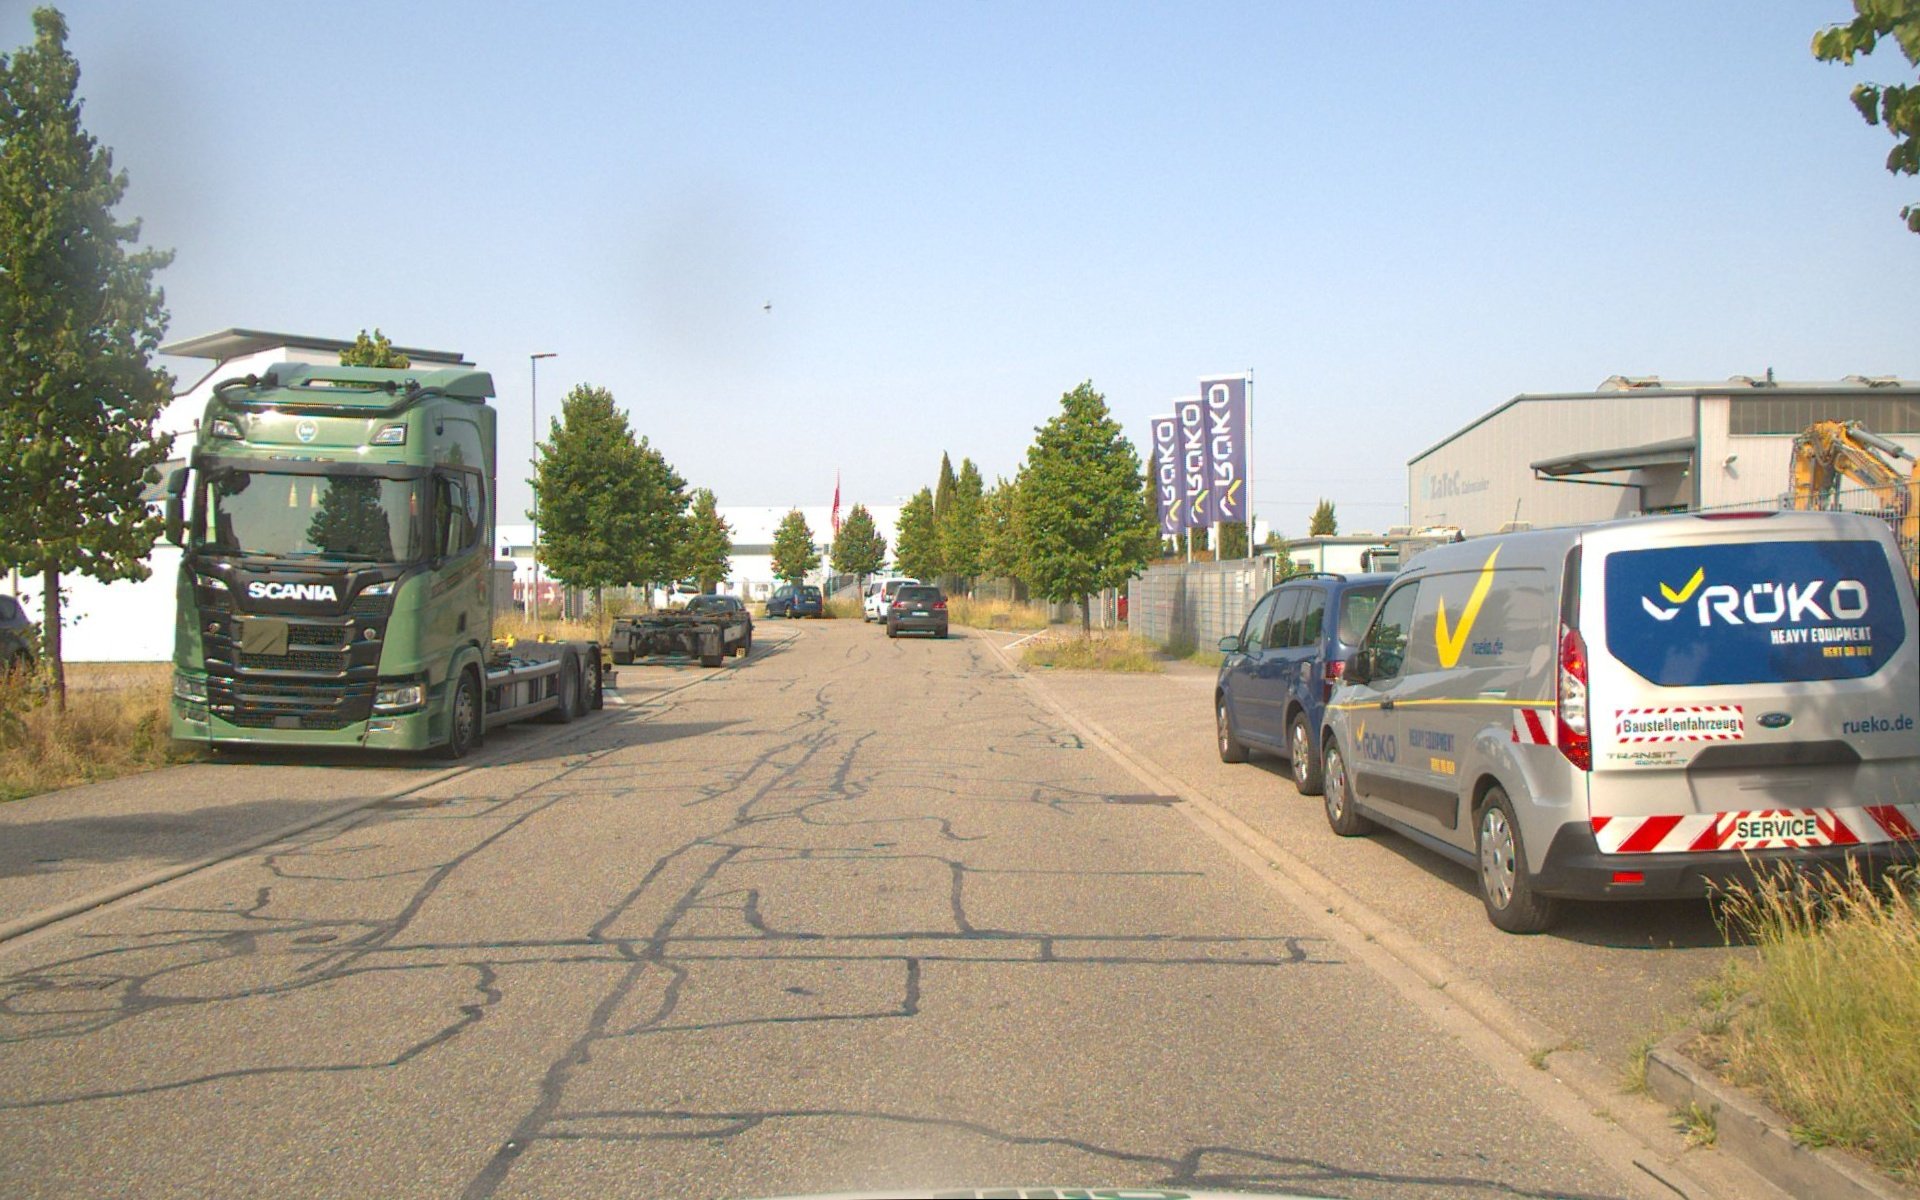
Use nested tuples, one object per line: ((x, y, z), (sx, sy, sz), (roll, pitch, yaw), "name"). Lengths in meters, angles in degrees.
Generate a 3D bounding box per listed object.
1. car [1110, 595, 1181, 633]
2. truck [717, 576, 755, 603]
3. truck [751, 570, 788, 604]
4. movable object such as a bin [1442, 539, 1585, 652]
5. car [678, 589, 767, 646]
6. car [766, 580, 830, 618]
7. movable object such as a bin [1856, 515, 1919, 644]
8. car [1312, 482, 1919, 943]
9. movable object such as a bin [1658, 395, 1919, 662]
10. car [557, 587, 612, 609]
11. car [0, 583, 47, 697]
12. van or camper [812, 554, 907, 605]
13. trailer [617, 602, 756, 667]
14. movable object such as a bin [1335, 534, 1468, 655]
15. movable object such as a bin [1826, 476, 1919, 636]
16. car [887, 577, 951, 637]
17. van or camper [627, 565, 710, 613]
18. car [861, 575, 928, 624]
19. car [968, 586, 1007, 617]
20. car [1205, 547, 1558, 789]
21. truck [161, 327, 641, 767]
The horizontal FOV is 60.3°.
((7.190, 0.522, 64.527), (1.844, 1.381, 4.769), (-1, 1, -5), "car")
((-19.701, -0.921, 145.783), (2.400, 2.304, 8.001), (0, 1, -1), "truck")
((-16.776, -1.175, 145.819), (2.400, 2.876, 8.001), (0, 1, -1), "truck")
((13.036, -0.118, 39.283), (1.951, 2.501, 4.765), (-1, 0, 2), "movable object such as a bin")
((-6.754, 0.460, 47.486), (1.953, 1.492, 4.432), (1, 1, -1), "car")
((-8.150, -0.063, 82.866), (1.968, 1.836, 3.968), (1, 1, -25), "car")
((21.901, -0.459, 34.570), (2.646, 2.763, 6.346), (-1, 1, -3), "movable object such as a bin")
((3.355, 0.457, 8.854), (1.953, 1.821, 4.599), (0, 0, 0), "car")
((17.845, -1.381, 34.234), (3.250, 4.890, 7.669), (-1, 1, -3), "movable object such as a bin")
((-26.135, -0.123, 115.253), (2.119, 1.502, 4.003), (0, 0, 14), "car")
((-15.357, 0.626, 23.829), (1.954, 1.716, 4.696), (-1, 1, -3), "car")
((-5.923, -1.157, 96.345), (2.327, 2.897, 7.260), (0, 0, -32), "van or camper")
((-6.412, 0.760, 39.703), (2.086, 1.254, 7.158), (1, 1, 0), "trailer")
((10.864, -0.159, 41.107), (1.848, 2.800, 5.159), (-1, 0, -1), "movable object such as a bin")
((24.876, -1.110, 42.063), (2.629, 3.941, 5.717), (-1, 0, -1), "movable object such as a bin")
((-1.322, 0.206, 53.701), (1.953, 1.836, 3.999), (1, 0, -1), "car")
((-19.110, -0.735, 108.195), (2.315, 2.995, 6.873), (-1, 1, -39), "van or camper")
((-2.749, -0.039, 68.284), (1.959, 1.932, 4.452), (-1, 1, -13), "car")
((1.554, 0.081, 95.204), (1.689, 1.672, 3.994), (1, 0, -7), "car")
((3.384, 0.504, 14.162), (1.789, 1.750, 4.247), (0, 0, -2), "car")
((-6.027, -0.464, 19.955), (2.405, 3.949, 9.802), (1, 0, 0), "truck")
